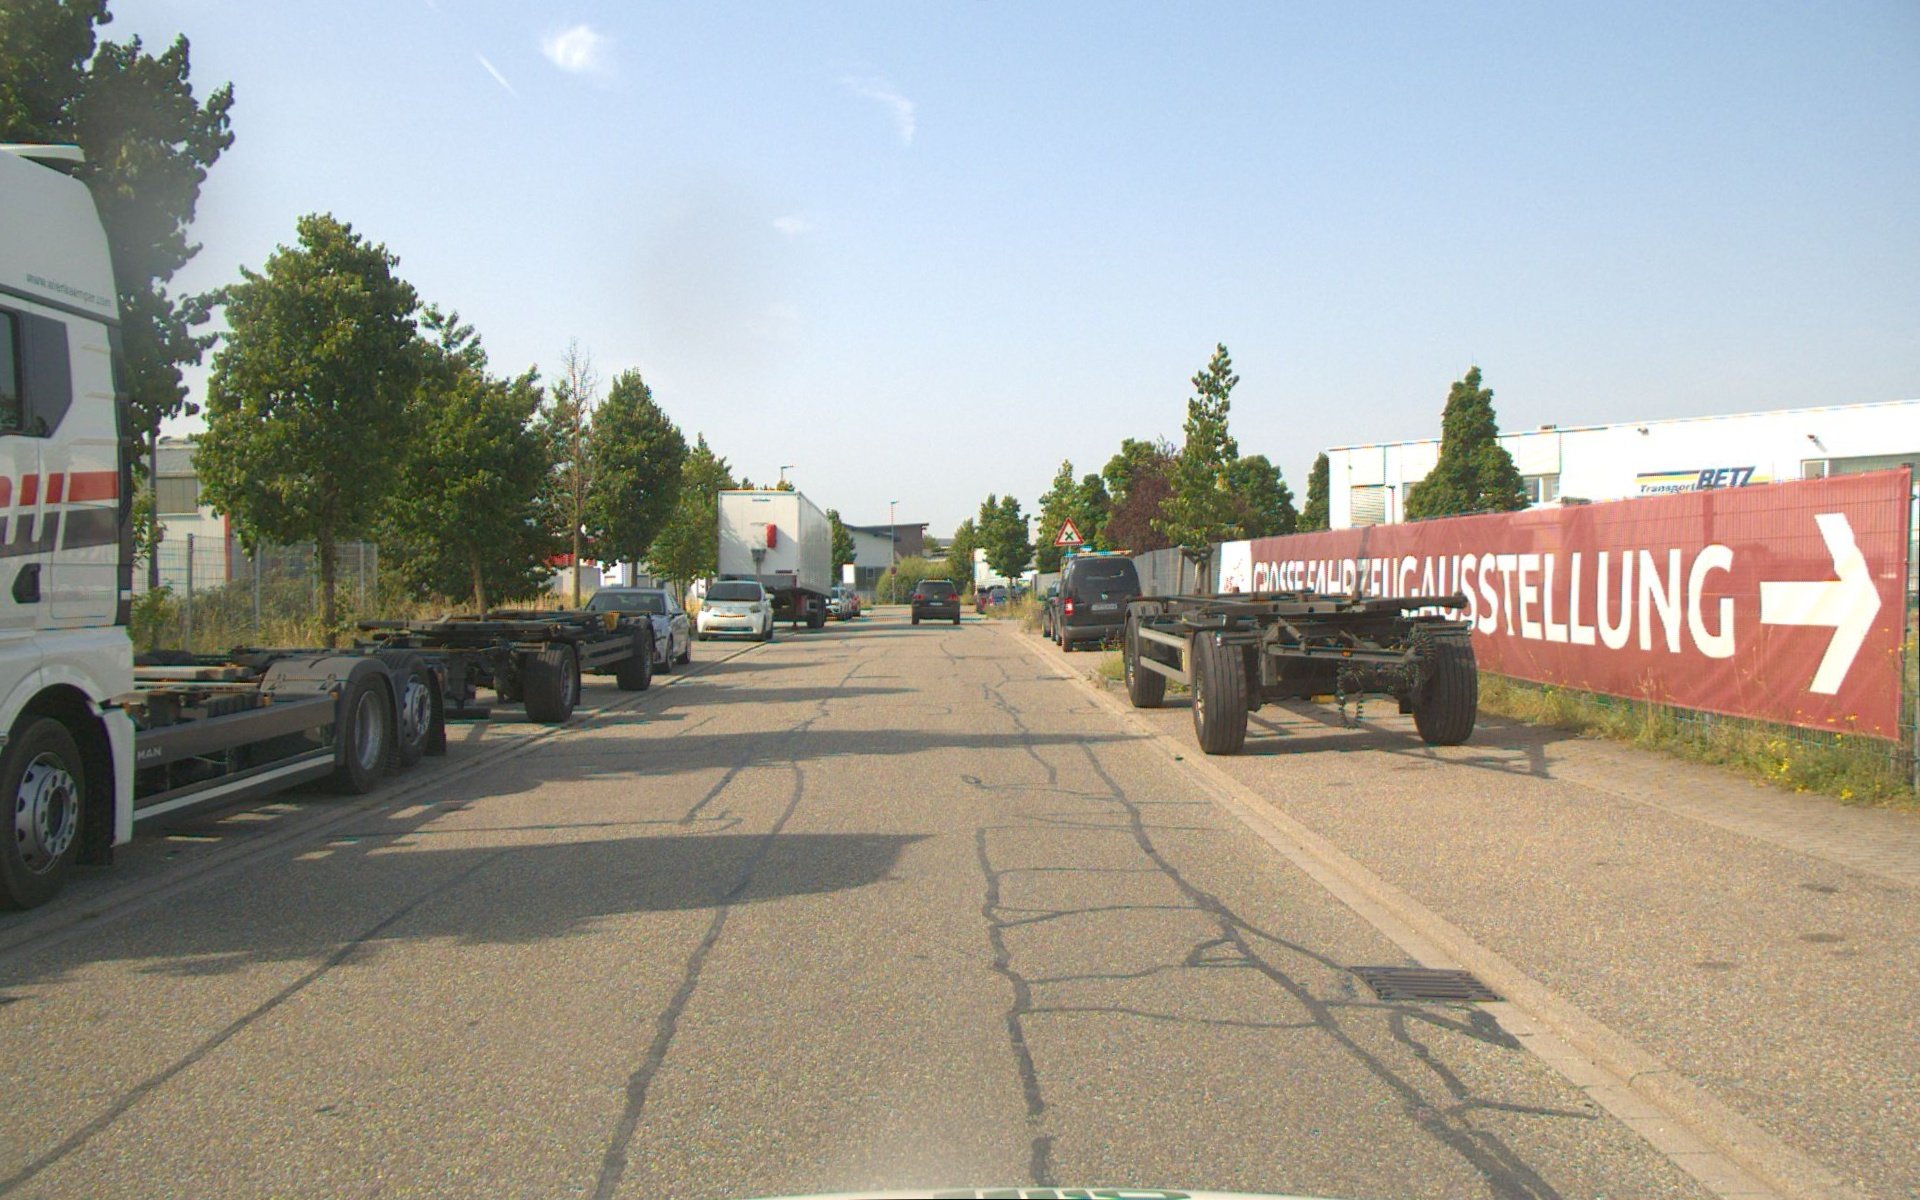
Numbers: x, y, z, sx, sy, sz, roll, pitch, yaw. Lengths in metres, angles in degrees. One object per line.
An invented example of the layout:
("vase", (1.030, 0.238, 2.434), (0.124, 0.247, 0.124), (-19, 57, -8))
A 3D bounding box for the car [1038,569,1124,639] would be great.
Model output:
("car", (2.862, 0.052, 39.856), (1.781, 1.474, 3.802), (-4, 1, 1))

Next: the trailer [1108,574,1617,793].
("trailer", (3.264, 0.534, 16.379), (2.570, 1.412, 9.453), (-3, 1, -1))

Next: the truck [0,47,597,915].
("truck", (-5.653, -0.596, 13.126), (2.572, 3.997, 12.920), (0, 0, 1))

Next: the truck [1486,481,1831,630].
("truck", (20.436, -1.252, 48.914), (9.150, 4.041, 2.443), (0, 1, 43))

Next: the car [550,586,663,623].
("car", (-13.454, 0.169, 63.045), (3.902, 1.363, 1.618), (0, 1, 6))

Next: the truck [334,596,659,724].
("truck", (-5.685, 0.646, 21.447), (2.473, 1.287, 6.525), (-1, 1, -1))

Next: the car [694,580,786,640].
("car", (-5.643, 0.229, 42.770), (1.773, 1.452, 4.000), (-1, 0, 1))

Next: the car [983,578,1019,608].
("car", (2.126, -0.374, 85.773), (1.781, 1.474, 3.802), (-2, 1, 1))

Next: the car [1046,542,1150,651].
("car", (2.797, -0.111, 34.354), (1.781, 2.012, 4.001), (-4, 1, 1))

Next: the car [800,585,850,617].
("car", (-6.636, 0.032, 81.792), (1.952, 1.549, 4.002), (-1, 0, 3))

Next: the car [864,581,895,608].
("car", (-5.495, -0.413, 113.370), (1.953, 1.803, 3.999), (0, 0, -1))

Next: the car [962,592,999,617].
("car", (1.497, 0.333, 121.231), (1.951, 1.803, 4.004), (0, 0, 12))

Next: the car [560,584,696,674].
("car", (-5.831, 0.468, 29.456), (1.847, 1.461, 3.997), (-1, 0, -4))

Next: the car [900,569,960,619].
("car", (-1.209, -0.259, 64.372), (1.955, 1.836, 3.995), (-1, 1, -7))

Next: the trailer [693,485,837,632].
("trailer", (-6.402, -1.320, 56.893), (3.334, 4.416, 13.919), (-1, 1, 0))

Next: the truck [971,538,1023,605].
("truck", (2.132, -1.648, 96.661), (2.827, 3.648, 8.063), (-2, 1, 1))
